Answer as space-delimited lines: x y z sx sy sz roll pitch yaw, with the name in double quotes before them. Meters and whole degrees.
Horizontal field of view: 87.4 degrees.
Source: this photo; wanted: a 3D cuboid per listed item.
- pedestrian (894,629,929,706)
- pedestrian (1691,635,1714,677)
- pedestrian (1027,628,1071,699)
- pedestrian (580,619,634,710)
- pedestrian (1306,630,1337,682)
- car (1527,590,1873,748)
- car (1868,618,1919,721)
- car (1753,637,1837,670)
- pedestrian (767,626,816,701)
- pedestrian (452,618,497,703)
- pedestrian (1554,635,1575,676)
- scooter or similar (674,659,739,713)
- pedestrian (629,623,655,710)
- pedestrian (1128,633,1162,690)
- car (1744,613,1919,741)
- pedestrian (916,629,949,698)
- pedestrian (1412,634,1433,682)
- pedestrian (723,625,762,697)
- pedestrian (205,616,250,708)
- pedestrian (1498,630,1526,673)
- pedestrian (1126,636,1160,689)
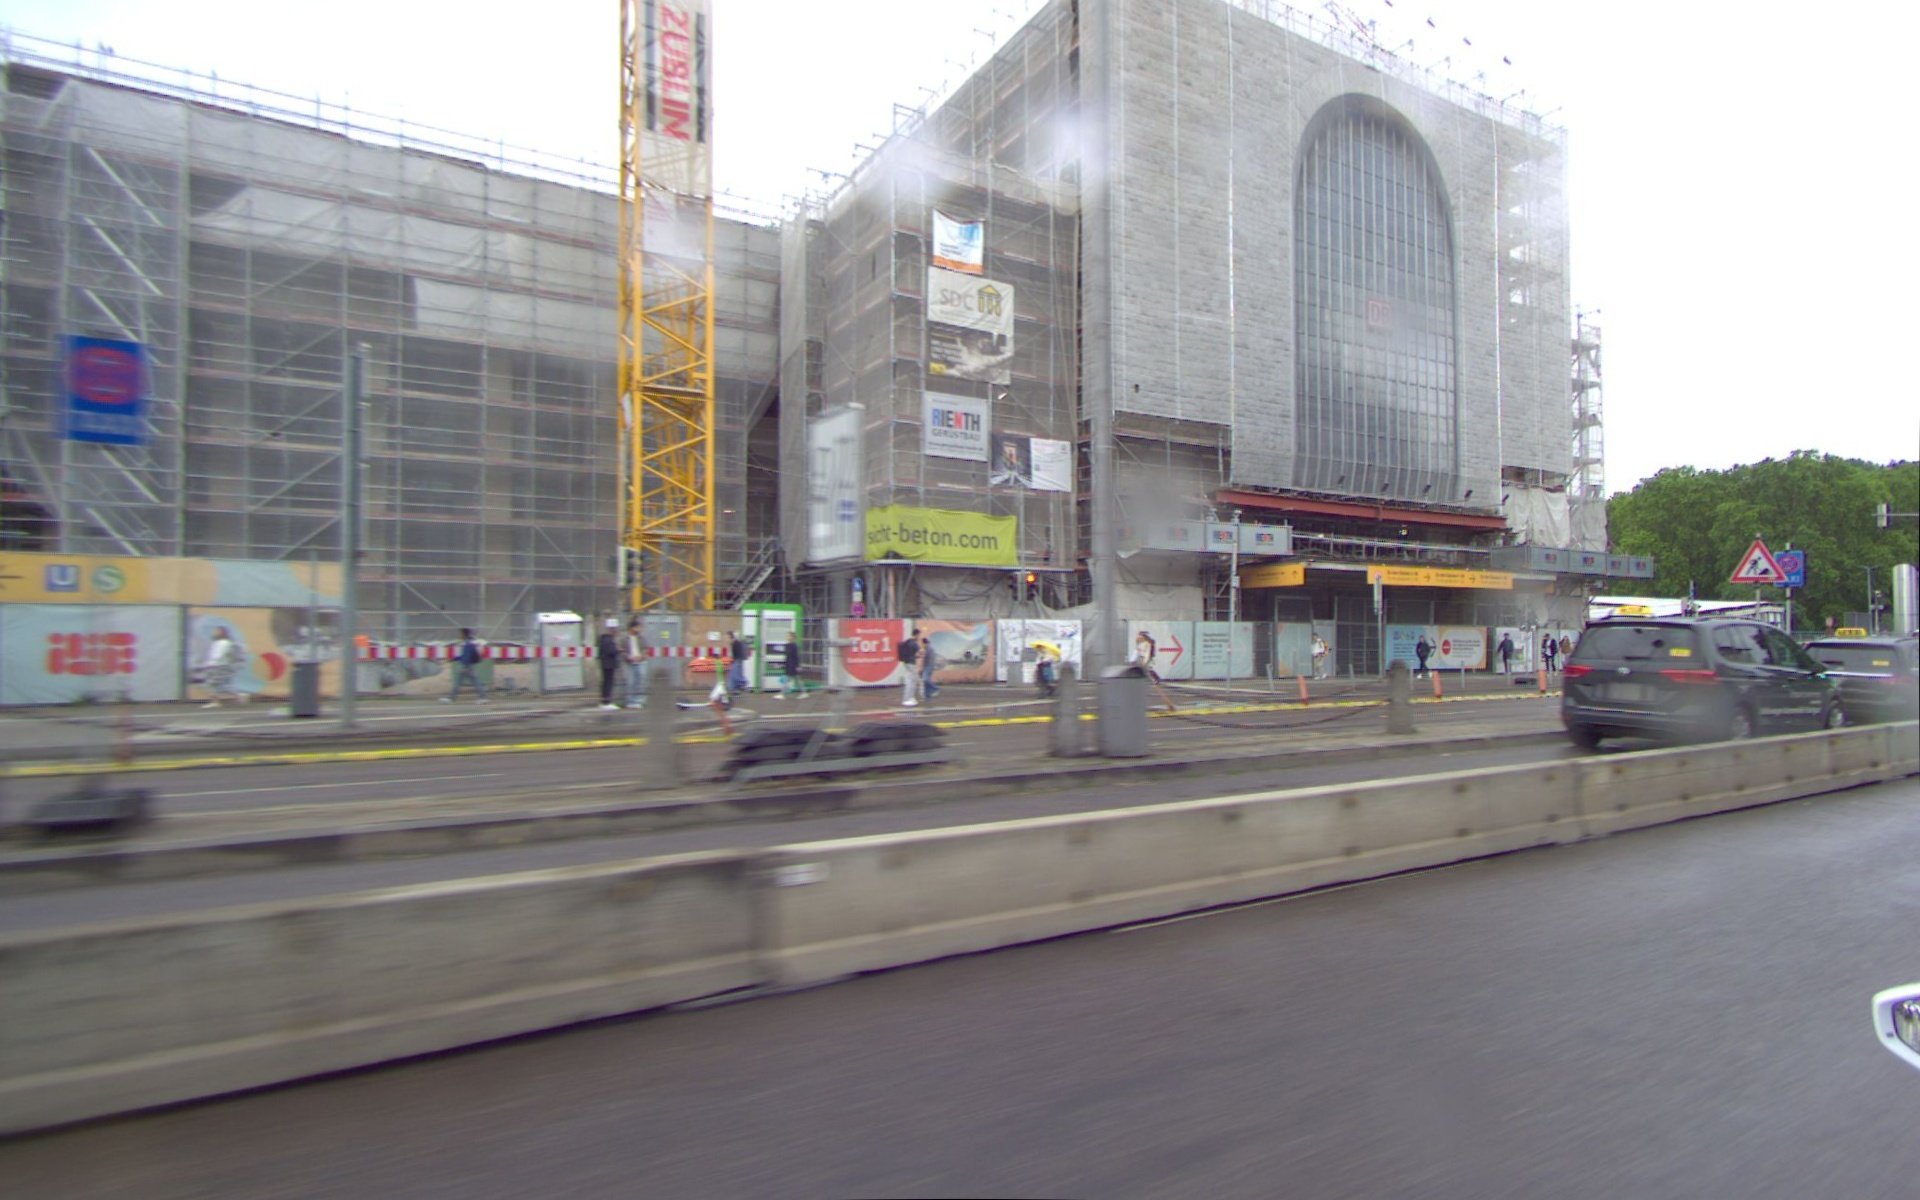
"pedestrian" -1.190 1.647 24.649 0.698 1.865 0.504 1 -1 -36
"pedestrian" 33.682 2.522 45.550 0.523 1.865 0.694 1 -2 -32
"pedestrian" 2.410 1.708 27.262 0.833 1.865 0.866 2 -2 -44
"pedestrian" -7.416 1.344 21.112 0.861 1.865 0.704 1 -1 -1
"pedestrian" 13.296 2.046 36.942 0.829 1.865 0.763 2 -2 -44
"car" 9.430 0.818 12.720 4.590 1.675 1.983 2 -2 -32
"car" 18.894 1.277 18.617 4.406 1.810 1.982 2 -2 -33
"car" 41.013 2.626 49.344 3.954 1.487 1.984 2 -1 -31
"pedestrian" -4.363 1.624 25.983 1.044 1.865 0.836 1 -1 -27
"pedestrian" -10.941 1.355 22.640 0.857 1.865 0.800 1 -1 -27
"pedestrian" 27.584 2.518 45.806 0.715 1.865 0.668 2 -2 -44
"scooter or similar" -5.248 1.770 20.818 1.215 1.080 0.460 1 -1 5
"pedestrian" -6.889 1.438 21.774 0.501 1.865 0.339 1 -1 -15
"pedestrian" 5.625 1.864 30.568 0.833 1.707 0.675 2 -2 -44
"car" 14.675 1.144 15.884 5.000 1.734 2.038 2 -2 -32
"pedestrian" -0.762 1.725 27.712 0.700 1.865 0.565 2 -2 -44
"pedestrian" 18.241 2.261 39.595 0.766 1.865 0.530 2 -2 -44
"pedestrian" -5.811 1.616 26.820 0.839 1.865 0.800 1 -1 -27
"pedestrian" -15.190 1.269 20.840 0.604 1.865 0.719 1 -1 -26
"pedestrian" 23.902 2.223 43.487 0.763 1.865 0.775 1 -2 -31
"pedestrian" 5.787 1.956 31.746 0.828 1.635 0.674 1 -1 -28
